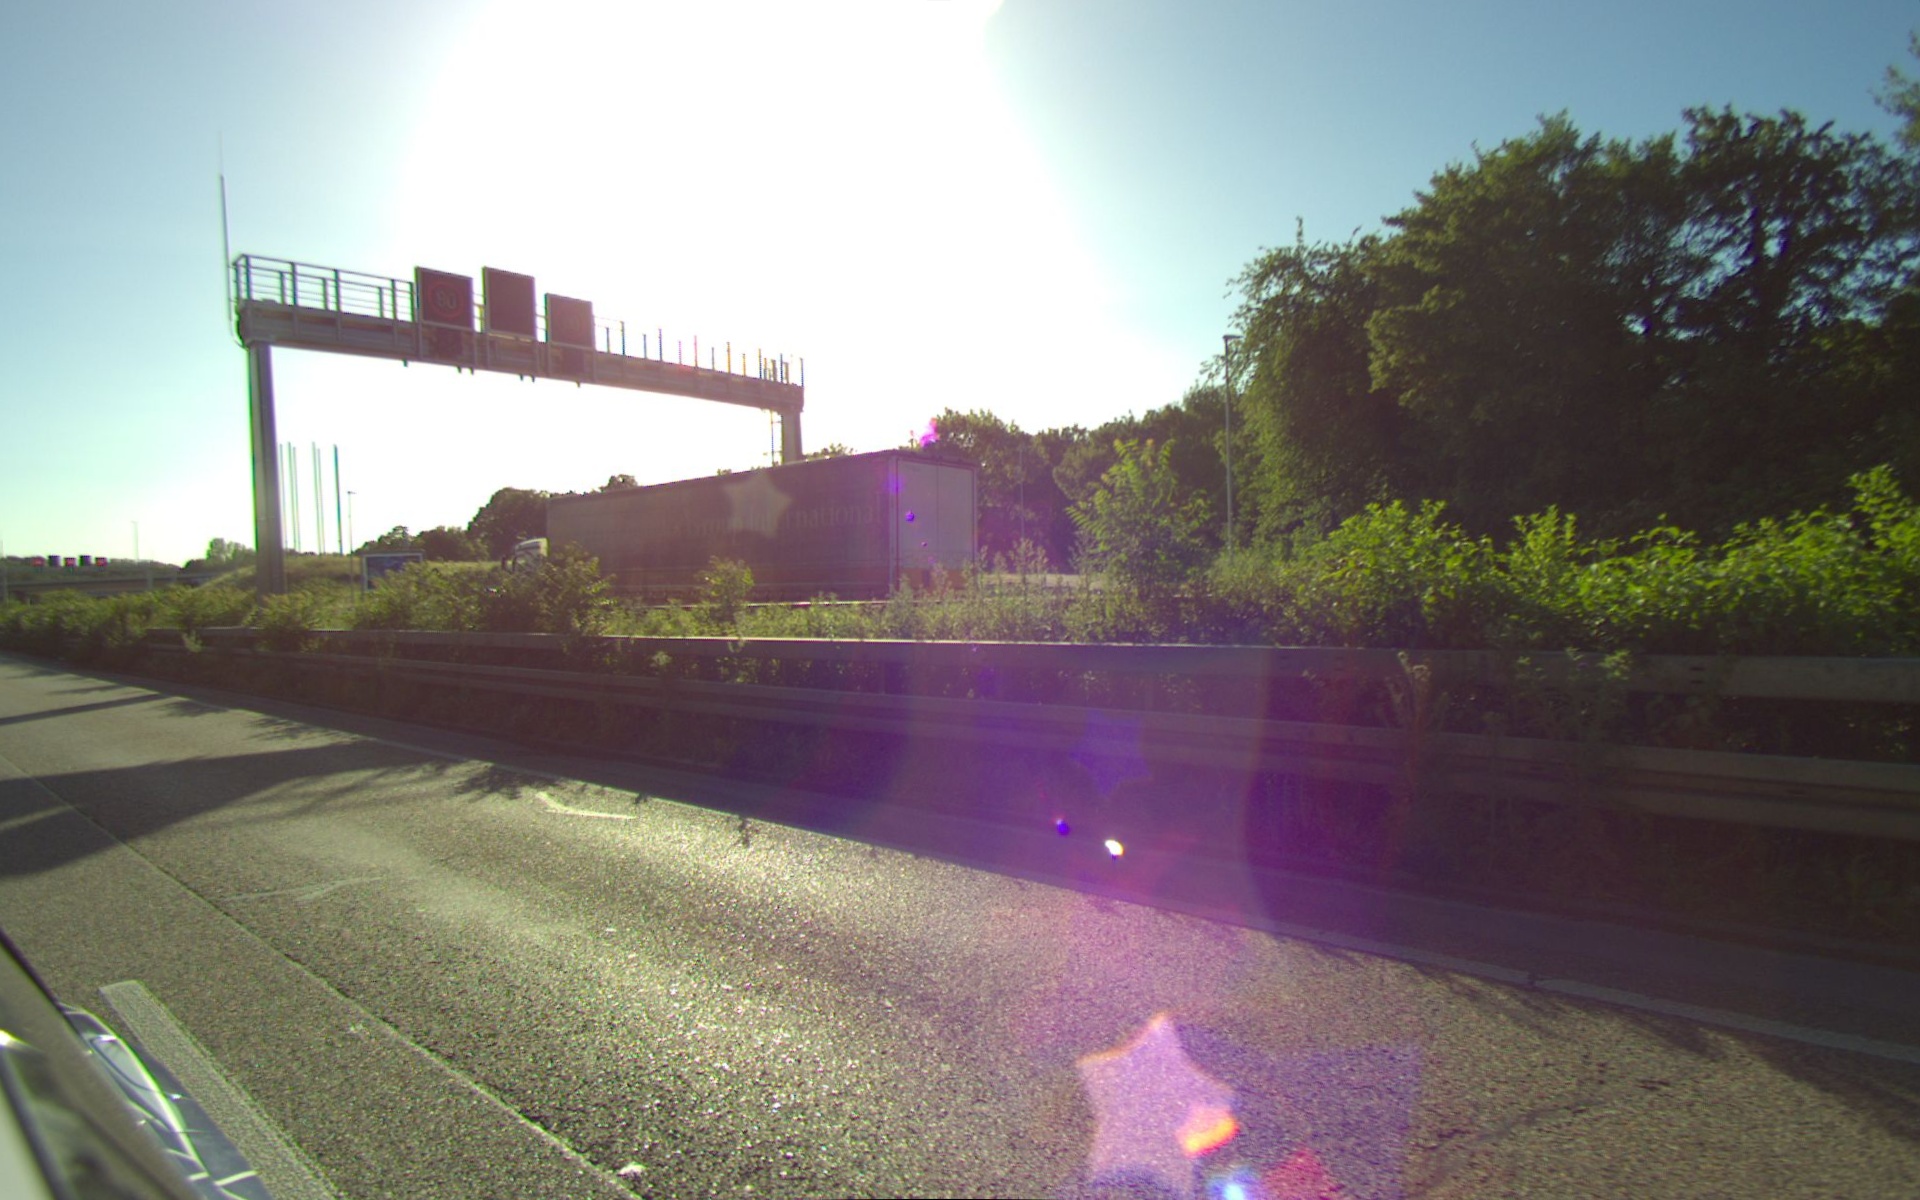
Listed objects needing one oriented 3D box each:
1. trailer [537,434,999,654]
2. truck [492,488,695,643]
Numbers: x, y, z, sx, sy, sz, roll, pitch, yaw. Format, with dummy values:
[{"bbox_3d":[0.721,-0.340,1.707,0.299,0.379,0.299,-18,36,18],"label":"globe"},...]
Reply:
[{"bbox_3d":[-5.419,-0.941,24.272,14.022,4.018,2.990,-1,0,42],"label":"trailer"},{"bbox_3d":[-10.565,-0.854,28.928,5.899,3.942,2.972,-1,0,42],"label":"truck"}]
